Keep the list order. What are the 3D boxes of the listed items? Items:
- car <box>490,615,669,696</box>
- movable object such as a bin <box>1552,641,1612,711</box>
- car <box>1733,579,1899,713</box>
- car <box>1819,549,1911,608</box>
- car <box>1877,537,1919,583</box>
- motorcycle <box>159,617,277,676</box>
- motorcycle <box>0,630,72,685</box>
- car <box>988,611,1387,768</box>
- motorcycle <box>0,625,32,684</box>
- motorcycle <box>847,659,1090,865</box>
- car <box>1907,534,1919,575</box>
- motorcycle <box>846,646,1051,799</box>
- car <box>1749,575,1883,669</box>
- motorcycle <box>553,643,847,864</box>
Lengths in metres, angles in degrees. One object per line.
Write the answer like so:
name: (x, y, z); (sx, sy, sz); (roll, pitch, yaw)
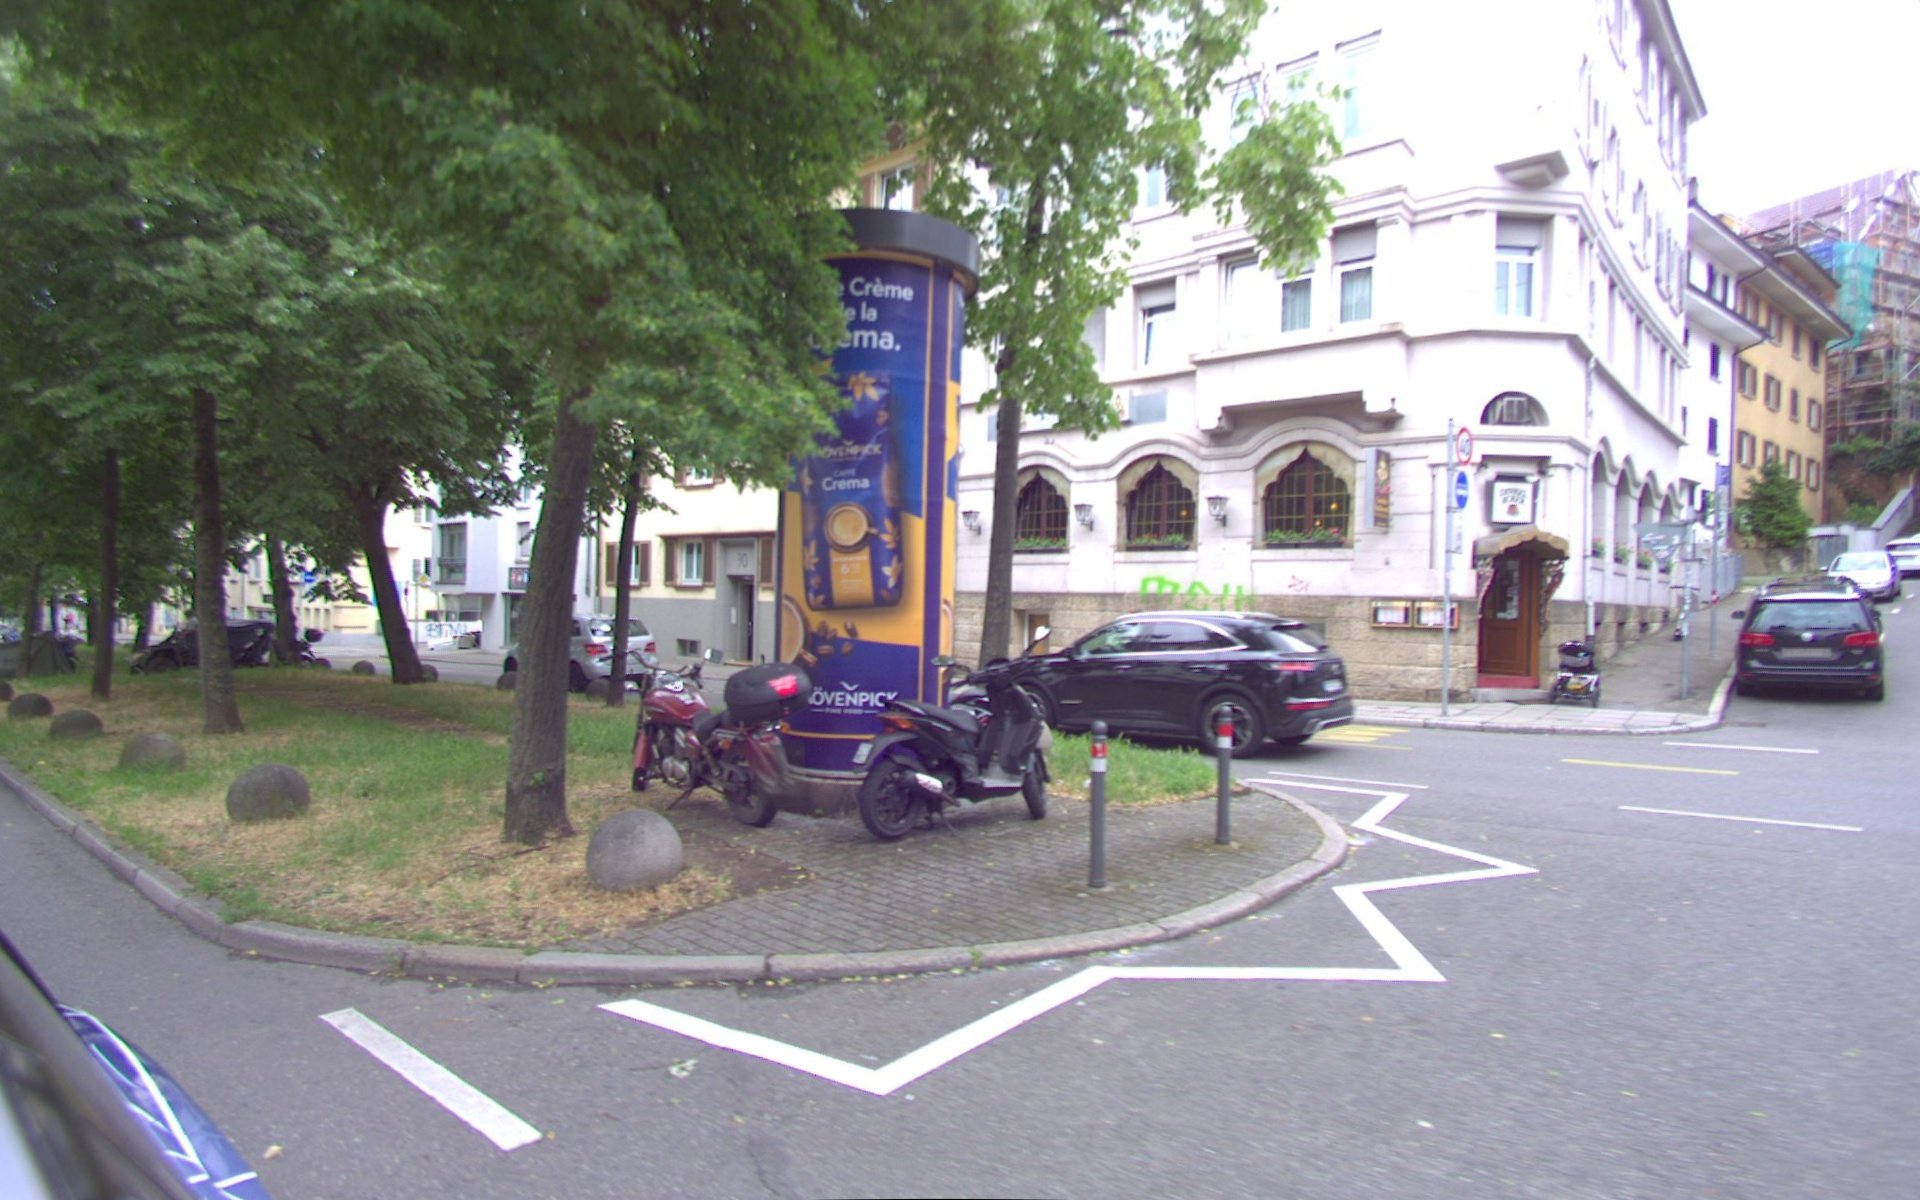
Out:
car: (-8.242, 1.156, 21.757); (4.252, 1.575, 1.795); (-2, -2, 41)
movable object such as a bin: (9.648, 1.159, 15.687); (0.667, 1.001, 0.877); (-1, 0, 39)
car: (13.977, 0.641, 16.556); (1.871, 1.712, 3.956); (-1, 3, 41)
car: (27.197, -0.662, 30.378); (3.942, 1.521, 1.801); (-5, 3, -44)
car: (35.101, -1.511, 36.864); (3.936, 1.521, 1.804); (-5, 3, -37)
motorcycle: (-20.244, 1.274, 27.641); (0.963, 1.494, 2.393); (1, -1, 41)
motorcycle: (-20.769, 1.253, 22.109); (0.454, 1.140, 2.014); (1, 1, 41)
car: (2.610, 0.966, 12.300); (4.413, 1.575, 1.795); (-2, -2, 41)
motorcycle: (-22.658, 1.275, 24.014); (1.623, 1.315, 0.449); (1, 0, 30)
motorcycle: (0.104, 0.978, 6.630); (0.551, 1.104, 1.712); (1, 0, 44)
car: (39.381, -1.891, 40.271); (3.936, 1.521, 1.804); (-5, 3, -37)
motorcycle: (-0.145, 0.997, 8.818); (0.740, 1.081, 1.853); (1, 0, -42)
car: (17.307, 0.377, 20.408); (1.801, 1.521, 3.943); (-1, 3, 44)
motorcycle: (-1.862, 0.913, 6.895); (0.876, 1.104, 2.484); (1, 0, -42)
